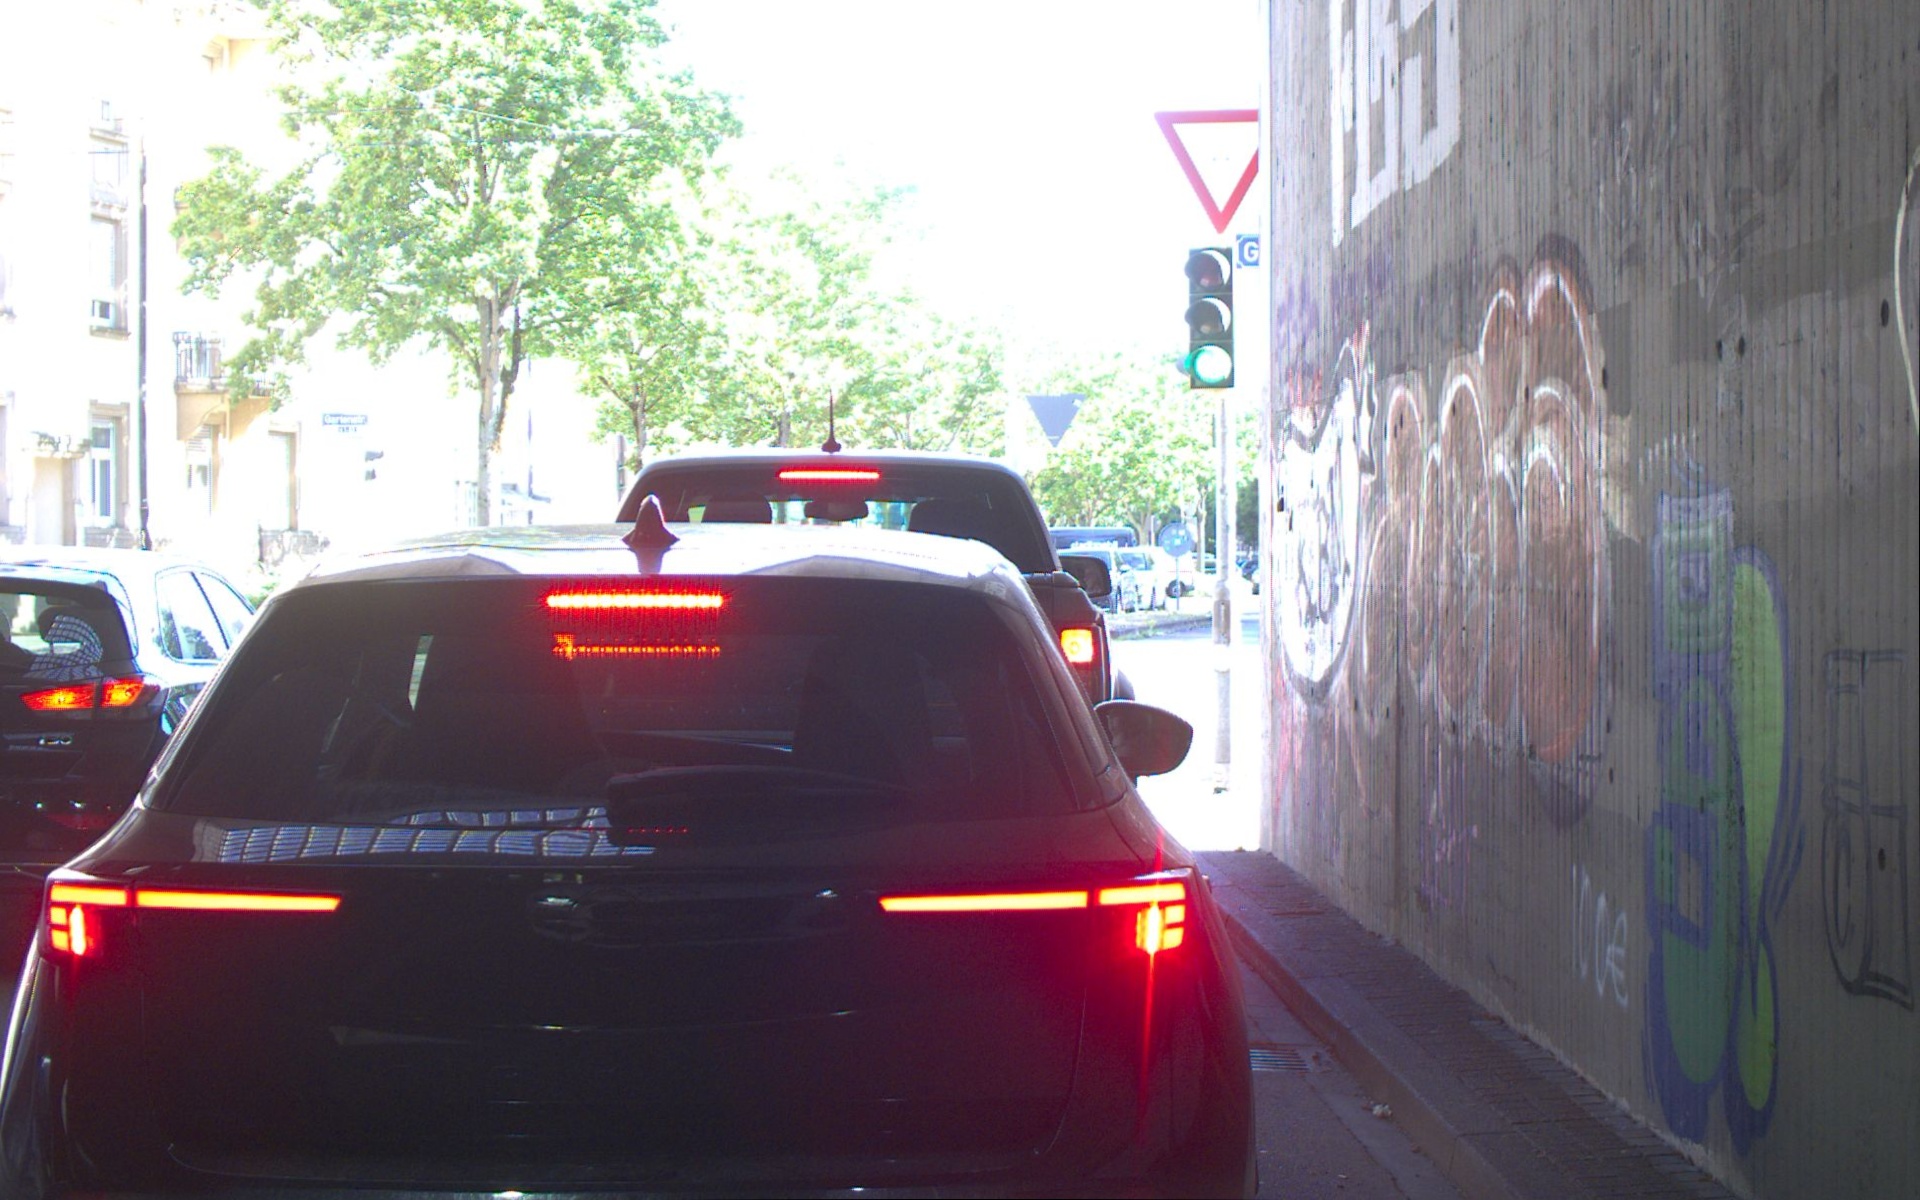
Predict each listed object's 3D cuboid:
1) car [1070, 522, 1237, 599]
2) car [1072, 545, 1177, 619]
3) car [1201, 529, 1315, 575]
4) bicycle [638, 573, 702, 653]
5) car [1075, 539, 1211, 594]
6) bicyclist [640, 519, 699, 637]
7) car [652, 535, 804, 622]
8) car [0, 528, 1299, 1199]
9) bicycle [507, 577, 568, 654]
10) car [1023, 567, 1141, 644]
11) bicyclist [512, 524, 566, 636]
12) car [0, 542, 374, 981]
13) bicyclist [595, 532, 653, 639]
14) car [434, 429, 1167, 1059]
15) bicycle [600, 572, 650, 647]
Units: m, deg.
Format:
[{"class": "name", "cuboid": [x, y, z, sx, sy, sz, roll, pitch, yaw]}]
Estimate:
[{"class": "car", "cuboid": [6.534, -1.334, 116.104, 5.259, 2.537, 1.986, -1, 0, -15]}, {"class": "car", "cuboid": [3.614, -0.413, 75.070, 1.705, 1.507, 3.861, -2, 1, 11]}, {"class": "car", "cuboid": [13.947, -2.240, 160.910, 4.882, 2.076, 1.986, -1, 0, -14]}, {"class": "bicycle", "cuboid": [-4.299, 0.182, 51.106, 0.698, 1.086, 1.860, 0, 3, 3]}, {"class": "car", "cuboid": [7.148, -1.302, 134.144, 4.883, 2.076, 1.986, -1, 0, -25]}, {"class": "bicyclist", "cuboid": [-4.312, -0.337, 51.039, 0.745, 1.705, 0.967, 0, 3, 2]}, {"class": "car", "cuboid": [-3.984, -0.391, 59.583, 1.658, 1.436, 3.461, 0, 1, 14]}, {"class": "car", "cuboid": [-0.497, 0.638, 6.155, 1.781, 1.512, 3.756, 0, 1, -1]}, {"class": "bicycle", "cuboid": [-6.190, 0.223, 50.421, 0.525, 1.086, 1.860, 0, 1, 5]}, {"class": "car", "cuboid": [2.453, 0.086, 68.397, 1.708, 1.447, 3.849, 0, 1, 12]}, {"class": "bicyclist", "cuboid": [-6.180, -0.306, 50.512, 0.606, 1.627, 0.910, 0, 1, 4]}, {"class": "car", "cuboid": [-3.566, 0.504, 13.565, 1.801, 1.446, 4.326, 0, 1, -1]}, {"class": "bicyclist", "cuboid": [-5.243, -0.241, 53.733, 0.782, 1.654, 1.031, 0, 1, 1]}, {"class": "car", "cuboid": [-0.566, 0.374, 12.535, 2.133, 1.829, 4.941, 0, 1, -2]}, {"class": "bicycle", "cuboid": [-5.219, 0.137, 53.663, 0.541, 1.119, 2.058, 0, 1, 1]}]
